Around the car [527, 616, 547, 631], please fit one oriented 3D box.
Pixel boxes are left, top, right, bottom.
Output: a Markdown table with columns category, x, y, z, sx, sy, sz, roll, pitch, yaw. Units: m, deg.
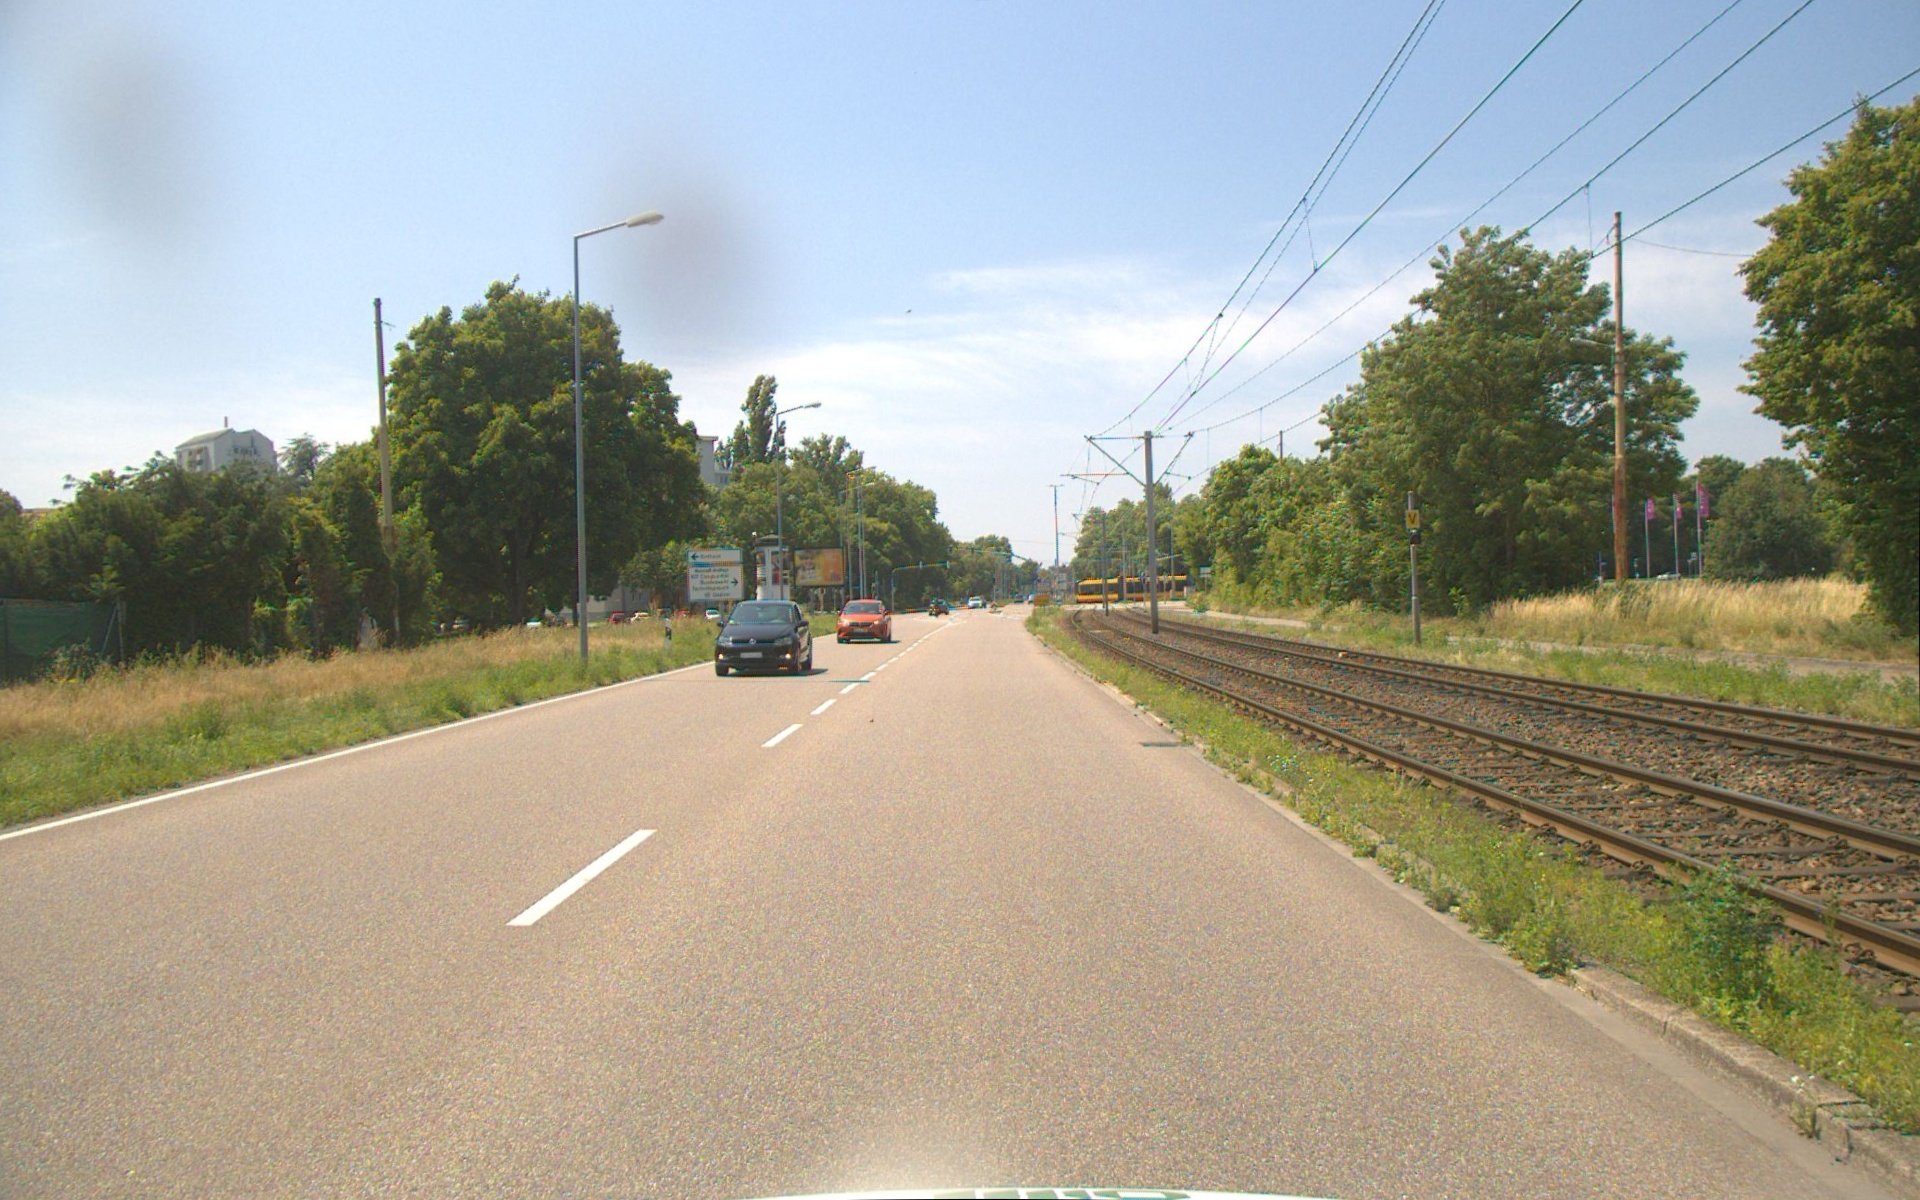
| category | x | y | z | sx | sy | sz | roll | pitch | yaw |
| --- | --- | --- | --- | --- | --- | --- | --- | --- | --- |
| car | -45.173 | 2.510 | 176.567 | 1.663 | 1.589 | 3.816 | -2 | 0 | -19 |

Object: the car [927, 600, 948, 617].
| category | x | y | z | sx | sy | sz | roll | pitch | yaw |
| --- | --- | --- | --- | --- | --- | --- | --- | --- | --- |
| car | -2.137 | 0.782 | 157.179 | 1.867 | 1.525 | 4.630 | -1 | 0 | 0 |

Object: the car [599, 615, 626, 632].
| category | x | y | z | sx | sy | sz | roll | pitch | yaw |
| --- | --- | --- | --- | --- | --- | --- | --- | --- | --- |
| car | -37.723 | 2.554 | 179.502 | 1.825 | 1.697 | 3.963 | -2 | 0 | -28 |

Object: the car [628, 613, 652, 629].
| category | x | y | z | sx | sy | sz | roll | pitch | yaw |
| --- | --- | --- | --- | --- | --- | --- | --- | --- | --- |
| car | -34.932 | 2.295 | 180.360 | 1.682 | 1.620 | 3.969 | -1 | 0 | -24 |

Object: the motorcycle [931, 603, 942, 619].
| category | x | y | z | sx | sy | sz | roll | pitch | yaw |
| --- | --- | --- | --- | --- | --- | --- | --- | --- | --- |
| motorcycle | -1.986 | 0.941 | 138.579 | 0.830 | 1.277 | 2.448 | -1 | 0 | -1 |

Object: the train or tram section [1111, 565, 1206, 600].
| category | x | y | z | sx | sy | sz | roll | pitch | yaw |
| --- | --- | --- | --- | --- | --- | --- | --- | --- | --- |
| train or tram section | 27.461 | -2.386 | 229.322 | 13.705 | 3.988 | 2.908 | -3 | -4 | 40 |

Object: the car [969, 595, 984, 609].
| category | x | y | z | sx | sy | sz | roll | pitch | yaw |
| --- | --- | --- | --- | --- | --- | --- | --- | --- | --- |
| car | 2.165 | 0.237 | 215.105 | 1.747 | 1.657 | 3.866 | -2 | 0 | 3 |

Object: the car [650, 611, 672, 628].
| category | x | y | z | sx | sy | sz | roll | pitch | yaw |
| --- | --- | --- | --- | --- | --- | --- | --- | --- | --- |
| car | -32.796 | 2.096 | 181.215 | 1.679 | 1.832 | 3.976 | -1 | 0 | -20 |

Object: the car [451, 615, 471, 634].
| category | x | y | z | sx | sy | sz | roll | pitch | yaw |
| --- | --- | --- | --- | --- | --- | --- | --- | --- | --- |
| car | -52.189 | 2.538 | 172.991 | 1.819 | 1.982 | 3.976 | -1 | 0 | -20 |

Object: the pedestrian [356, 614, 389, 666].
| category | x | y | z | sx | sy | sz | roll | pitch | yaw |
| --- | --- | --- | --- | --- | --- | --- | --- | --- | --- |
| pedestrian | -15.897 | 1.075 | 44.743 | 0.569 | 1.379 | 0.799 | -1 | 0 | 2 |

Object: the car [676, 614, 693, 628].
| category | x | y | z | sx | sy | sz | roll | pitch | yaw |
| --- | --- | --- | --- | --- | --- | --- | --- | --- | --- |
| car | -30.268 | 2.273 | 181.815 | 1.590 | 1.489 | 3.986 | -1 | 0 | -14 |

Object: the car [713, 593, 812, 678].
| category | x | y | z | sx | sy | sz | roll | pitch | yaw |
| --- | --- | --- | --- | --- | --- | --- | --- | --- | --- |
| car | -3.950 | 0.674 | 33.572 | 1.650 | 1.597 | 3.966 | -1 | 0 | -2 |

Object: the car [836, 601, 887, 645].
| category | x | y | z | sx | sy | sz | roll | pitch | yaw |
| --- | --- | --- | --- | --- | --- | --- | --- | --- | --- |
| car | -3.382 | 0.761 | 57.113 | 1.645 | 1.423 | 3.998 | -1 | 0 | -2 |

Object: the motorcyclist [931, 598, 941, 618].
| category | x | y | z | sx | sy | sz | roll | pitch | yaw |
| --- | --- | --- | --- | --- | --- | --- | --- | --- | --- |
| motorcyclist | -1.989 | 0.685 | 138.415 | 0.774 | 1.671 | 1.211 | -1 | 0 | -1 |

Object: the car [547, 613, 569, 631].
| category | x | y | z | sx | sy | sz | roll | pitch | yaw |
| --- | --- | --- | --- | --- | --- | --- | --- | --- | --- |
| car | -43.251 | 2.356 | 177.881 | 1.819 | 1.741 | 3.977 | -1 | 1 | -20 |
